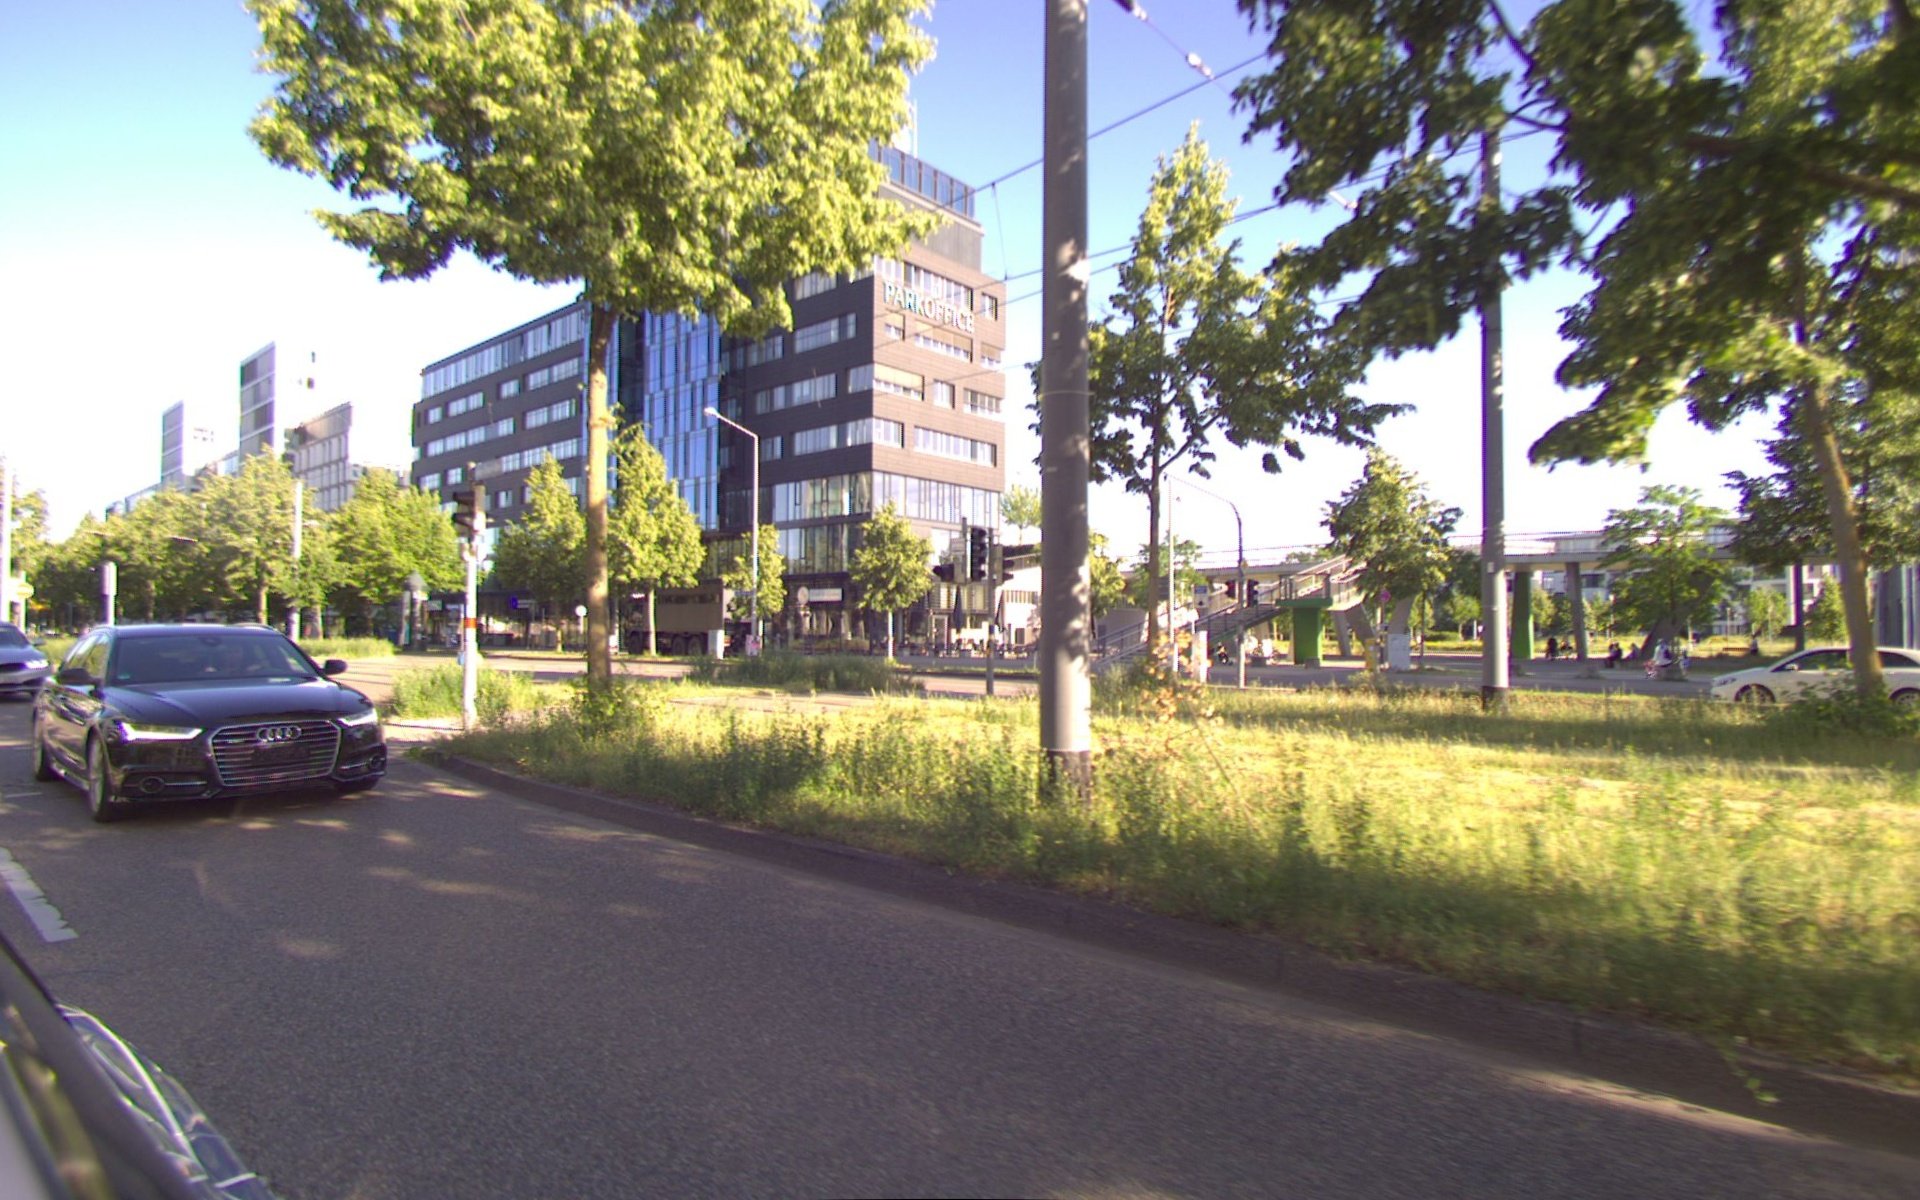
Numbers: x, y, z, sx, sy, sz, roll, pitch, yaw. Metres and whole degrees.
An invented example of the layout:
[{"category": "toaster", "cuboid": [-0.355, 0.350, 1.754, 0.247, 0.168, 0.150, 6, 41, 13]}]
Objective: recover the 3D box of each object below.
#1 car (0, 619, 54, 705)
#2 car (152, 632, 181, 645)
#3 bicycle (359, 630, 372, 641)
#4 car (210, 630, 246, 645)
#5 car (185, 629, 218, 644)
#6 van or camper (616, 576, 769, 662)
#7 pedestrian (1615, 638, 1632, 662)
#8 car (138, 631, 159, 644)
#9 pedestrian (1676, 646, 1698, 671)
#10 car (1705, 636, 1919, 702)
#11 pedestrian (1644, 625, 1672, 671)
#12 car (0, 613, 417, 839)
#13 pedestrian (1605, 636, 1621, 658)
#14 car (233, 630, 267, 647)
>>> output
[{"category": "car", "cuboid": [-18.688, 1.132, 19.069, 4.739, 1.500, 1.789, -2, -2, 41]}, {"category": "car", "cuboid": [-103.412, 5.024, 131.891, 4.789, 1.712, 1.986, -2, -2, 40]}, {"category": "bicycle", "cuboid": [-59.151, 3.564, 100.698, 1.847, 1.041, 0.522, -1, -1, 42]}, {"category": "car", "cuboid": [-82.322, 4.193, 113.765, 4.785, 1.712, 1.987, -1, -2, 38]}, {"category": "car", "cuboid": [-90.244, 4.329, 120.401, 4.785, 1.712, 1.987, -1, -2, 38]}, {"category": "van or camper", "cuboid": [-14.447, 1.031, 53.904, 10.226, 4.224, 2.724, -1, -2, 42]}, {"category": "pedestrian", "cuboid": [31.592, 2.364, 48.180, 0.600, 1.134, 0.434, -1, -1, 44]}, {"category": "car", "cuboid": [-111.401, 5.117, 138.908, 3.742, 1.682, 1.580, -2, -2, 42]}, {"category": "pedestrian", "cuboid": [28.340, 2.271, 39.445, 0.428, 0.927, 0.599, 0, -1, 5]}, {"category": "car", "cuboid": [19.746, 1.519, 22.963, 4.469, 1.352, 1.563, -1, -2, 41]}, {"category": "pedestrian", "cuboid": [27.273, 1.880, 39.568, 0.664, 1.785, 0.599, 0, -1, 5]}, {"category": "car", "cuboid": [-6.665, 0.877, 8.649, 4.498, 1.468, 1.792, -1, -2, 36]}, {"category": "pedestrian", "cuboid": [33.642, 2.429, 52.118, 0.600, 1.134, 0.434, -1, -1, 44]}, {"category": "car", "cuboid": [-74.956, 4.066, 106.806, 4.790, 1.697, 1.834, -2, -2, 42]}]
